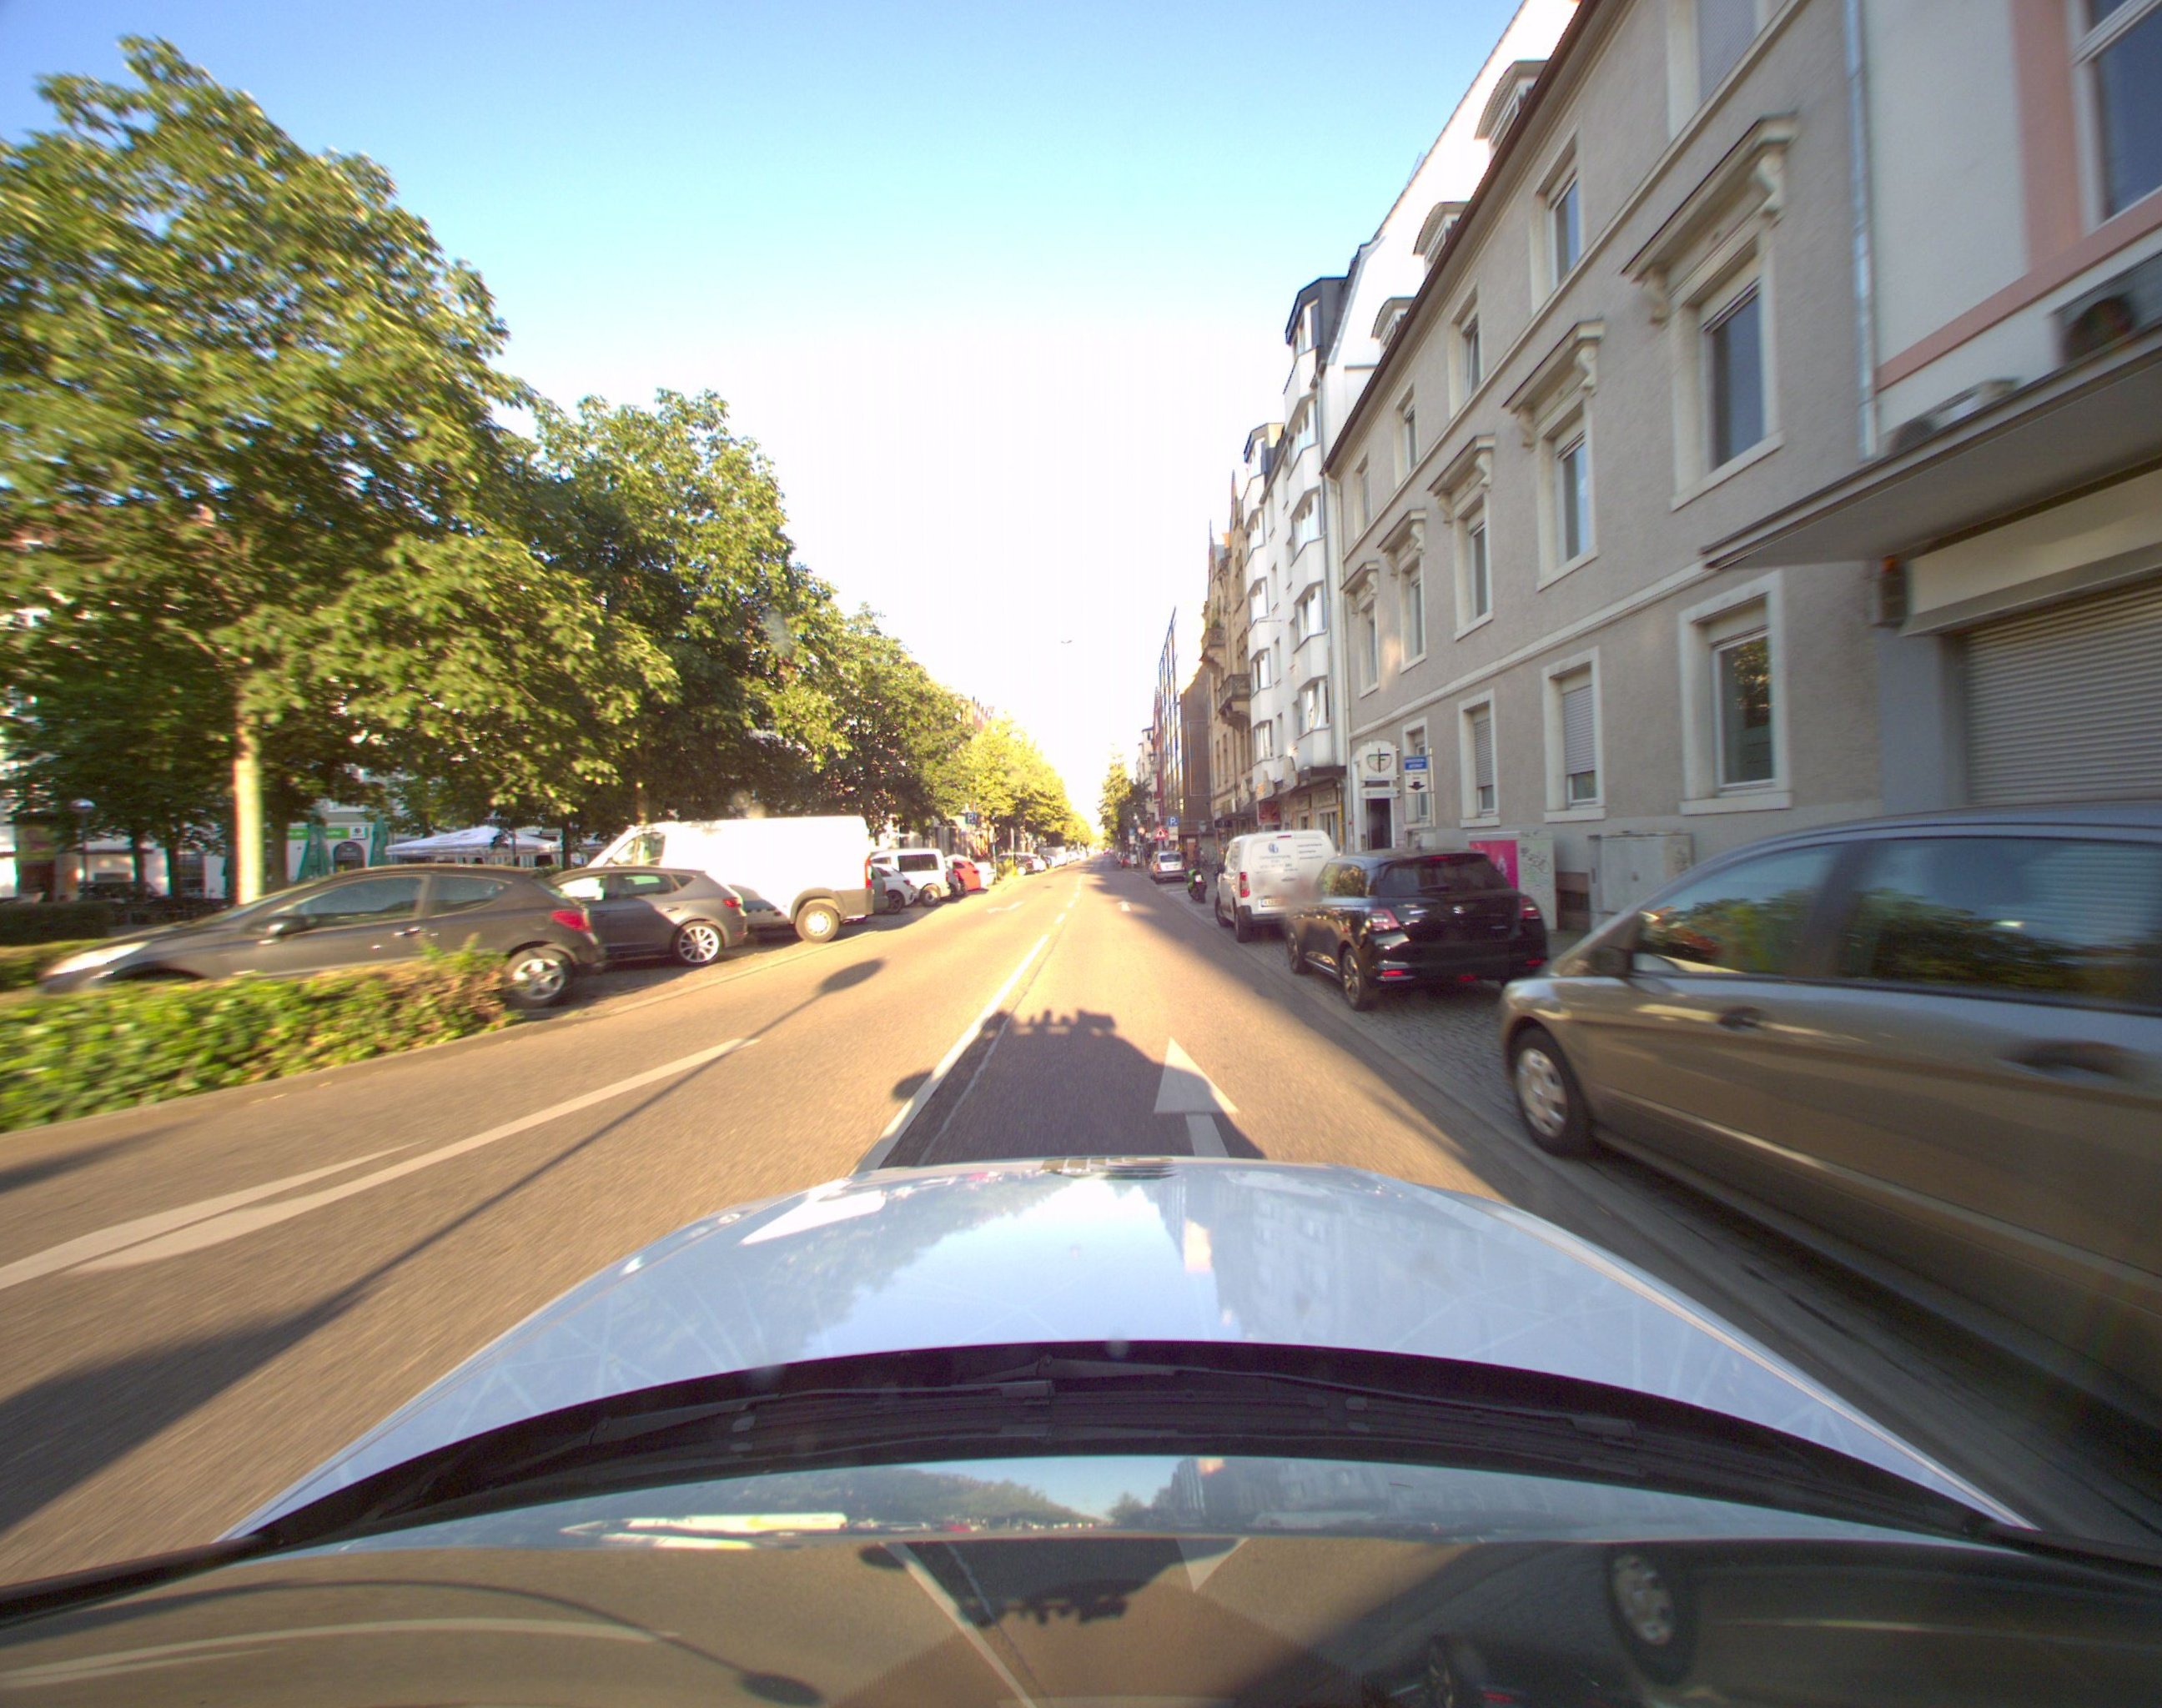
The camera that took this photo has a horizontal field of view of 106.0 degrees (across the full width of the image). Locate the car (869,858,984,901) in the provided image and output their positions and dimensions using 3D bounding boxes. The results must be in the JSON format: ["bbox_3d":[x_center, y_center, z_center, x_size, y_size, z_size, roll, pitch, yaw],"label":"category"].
[{"bbox_3d":[-6.047,0.963,31.954,4.010,1.485,1.982,-2,0,-28],"label":"car"}]

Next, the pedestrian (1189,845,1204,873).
[{"bbox_3d":[7.370,0.305,52.114,0.752,1.767,1.222,-1,0,1],"label":"pedestrian"}]

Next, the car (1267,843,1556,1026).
[{"bbox_3d":[3.283,0.671,8.934,1.661,1.544,3.884,-1,0,1],"label":"car"}]

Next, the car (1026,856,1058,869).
[{"bbox_3d":[-4.716,1.025,99.814,3.726,1.596,2.000,-1,0,1],"label":"car"}]

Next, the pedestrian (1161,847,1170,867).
[{"bbox_3d":[7.867,0.254,75.643,0.712,1.865,0.679,-2,0,-1],"label":"pedestrian"}]

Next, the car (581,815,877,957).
[{"bbox_3d":[-6.303,0.486,14.936,4.621,2.251,2.185,-1,0,-26],"label":"car"}]

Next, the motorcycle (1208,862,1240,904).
[{"bbox_3d":[4.221,0.835,24.185,0.586,1.123,2.211,-2,0,1],"label":"motorcycle"}]

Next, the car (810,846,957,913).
[{"bbox_3d":[-6.091,0.725,25.233,4.016,1.878,1.851,-1,0,-35],"label":"car"}]

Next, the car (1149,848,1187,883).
[{"bbox_3d":[4.393,0.554,41.523,1.673,1.561,4.005,-4,0,4],"label":"car"}]

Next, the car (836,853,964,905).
[{"bbox_3d":[-6.319,0.819,28.537,4.016,1.696,1.731,0,0,-35],"label":"car"}]

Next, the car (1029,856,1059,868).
[{"bbox_3d":[-4.730,1.055,104.925,3.726,1.449,2.000,-1,0,1],"label":"car"}]

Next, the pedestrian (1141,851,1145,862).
[{"bbox_3d":[8.839,0.361,116.115,0.532,1.622,0.534,-1,0,2],"label":"pedestrian"}]

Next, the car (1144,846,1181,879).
[{"bbox_3d":[4.595,0.444,46.232,1.690,1.769,4.001,-2,0,1],"label":"car"}]

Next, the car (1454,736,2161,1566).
[{"bbox_3d":[3.005,0.578,2.757,1.651,1.665,4.109,-1,0,1],"label":"car"}]

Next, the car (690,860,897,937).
[{"bbox_3d":[-6.437,0.910,18.481,4.021,1.468,1.861,-1,1,-41],"label":"car"}]

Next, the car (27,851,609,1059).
[{"bbox_3d":[-7.034,0.788,8.146,3.899,1.582,1.784,-1,0,-34],"label":"car"}]

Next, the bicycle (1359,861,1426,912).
[{"bbox_3d":[6.639,0.681,17.448,0.455,1.012,1.705,-1,-1,-13],"label":"bicycle"}]

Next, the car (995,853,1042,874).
[{"bbox_3d":[-5.478,0.830,71.761,3.976,1.708,1.833,-1,0,1],"label":"car"}]

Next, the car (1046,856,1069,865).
[{"bbox_3d":[-3.986,1.068,139.411,3.726,1.449,2.000,-2,0,1],"label":"car"}]

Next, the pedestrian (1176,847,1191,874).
[{"bbox_3d":[6.549,0.402,52.029,0.752,1.640,1.259,-1,0,1],"label":"pedestrian"}]

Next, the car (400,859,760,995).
[{"bbox_3d":[-6.840,0.854,11.385,4.019,1.486,1.812,-1,0,-38],"label":"car"}]

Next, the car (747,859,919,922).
[{"bbox_3d":[-6.576,0.905,21.776,4.018,1.492,1.829,-1,0,-37],"label":"car"}]

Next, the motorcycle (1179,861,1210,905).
[{"bbox_3d":[3.424,0.852,24.727,0.586,1.200,2.211,-4,0,1],"label":"motorcycle"}]

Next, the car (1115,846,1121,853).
[{"bbox_3d":[8.679,-1.112,191.025,1.305,1.600,2.659,-1,-1,-1],"label":"car"}]

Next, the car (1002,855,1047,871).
[{"bbox_3d":[-5.488,0.912,79.826,4.160,1.507,2.000,-1,0,1],"label":"car"}]

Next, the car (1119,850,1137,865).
[{"bbox_3d":[5.104,0.395,88.387,1.572,1.542,3.395,-4,-1,-1],"label":"car"}]

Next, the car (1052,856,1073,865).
[{"bbox_3d":[-3.264,1.206,144.185,3.726,1.493,2.000,-1,0,1],"label":"car"}]

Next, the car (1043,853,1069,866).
[{"bbox_3d":[-3.717,0.789,121.956,3.726,1.859,2.000,-1,0,1],"label":"car"}]

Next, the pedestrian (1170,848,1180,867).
[{"bbox_3d":[8.696,0.320,75.587,0.763,1.689,0.786,-3,0,-1],"label":"pedestrian"}]

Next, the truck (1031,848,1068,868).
[{"bbox_3d":[-4.242,0.495,111.223,4.923,2.615,2.000,-1,0,1],"label":"truck"}]

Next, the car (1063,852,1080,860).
[{"bbox_3d":[-2.032,0.365,177.891,3.726,1.708,2.000,-1,0,1],"label":"car"}]

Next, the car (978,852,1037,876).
[{"bbox_3d":[-5.826,0.796,64.961,4.433,1.835,2.034,-1,0,1],"label":"car"}]

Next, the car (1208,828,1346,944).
[{"bbox_3d":[3.472,0.491,15.184,1.703,1.835,4.309,-1,0,3],"label":"car"}]

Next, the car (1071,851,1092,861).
[{"bbox_3d":[0.090,0.328,151.150,3.726,1.708,2.000,-1,0,1],"label":"car"}]

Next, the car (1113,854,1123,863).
[{"bbox_3d":[5.442,0.725,120.403,1.203,1.300,2.659,-1,-1,-1],"label":"car"}]
